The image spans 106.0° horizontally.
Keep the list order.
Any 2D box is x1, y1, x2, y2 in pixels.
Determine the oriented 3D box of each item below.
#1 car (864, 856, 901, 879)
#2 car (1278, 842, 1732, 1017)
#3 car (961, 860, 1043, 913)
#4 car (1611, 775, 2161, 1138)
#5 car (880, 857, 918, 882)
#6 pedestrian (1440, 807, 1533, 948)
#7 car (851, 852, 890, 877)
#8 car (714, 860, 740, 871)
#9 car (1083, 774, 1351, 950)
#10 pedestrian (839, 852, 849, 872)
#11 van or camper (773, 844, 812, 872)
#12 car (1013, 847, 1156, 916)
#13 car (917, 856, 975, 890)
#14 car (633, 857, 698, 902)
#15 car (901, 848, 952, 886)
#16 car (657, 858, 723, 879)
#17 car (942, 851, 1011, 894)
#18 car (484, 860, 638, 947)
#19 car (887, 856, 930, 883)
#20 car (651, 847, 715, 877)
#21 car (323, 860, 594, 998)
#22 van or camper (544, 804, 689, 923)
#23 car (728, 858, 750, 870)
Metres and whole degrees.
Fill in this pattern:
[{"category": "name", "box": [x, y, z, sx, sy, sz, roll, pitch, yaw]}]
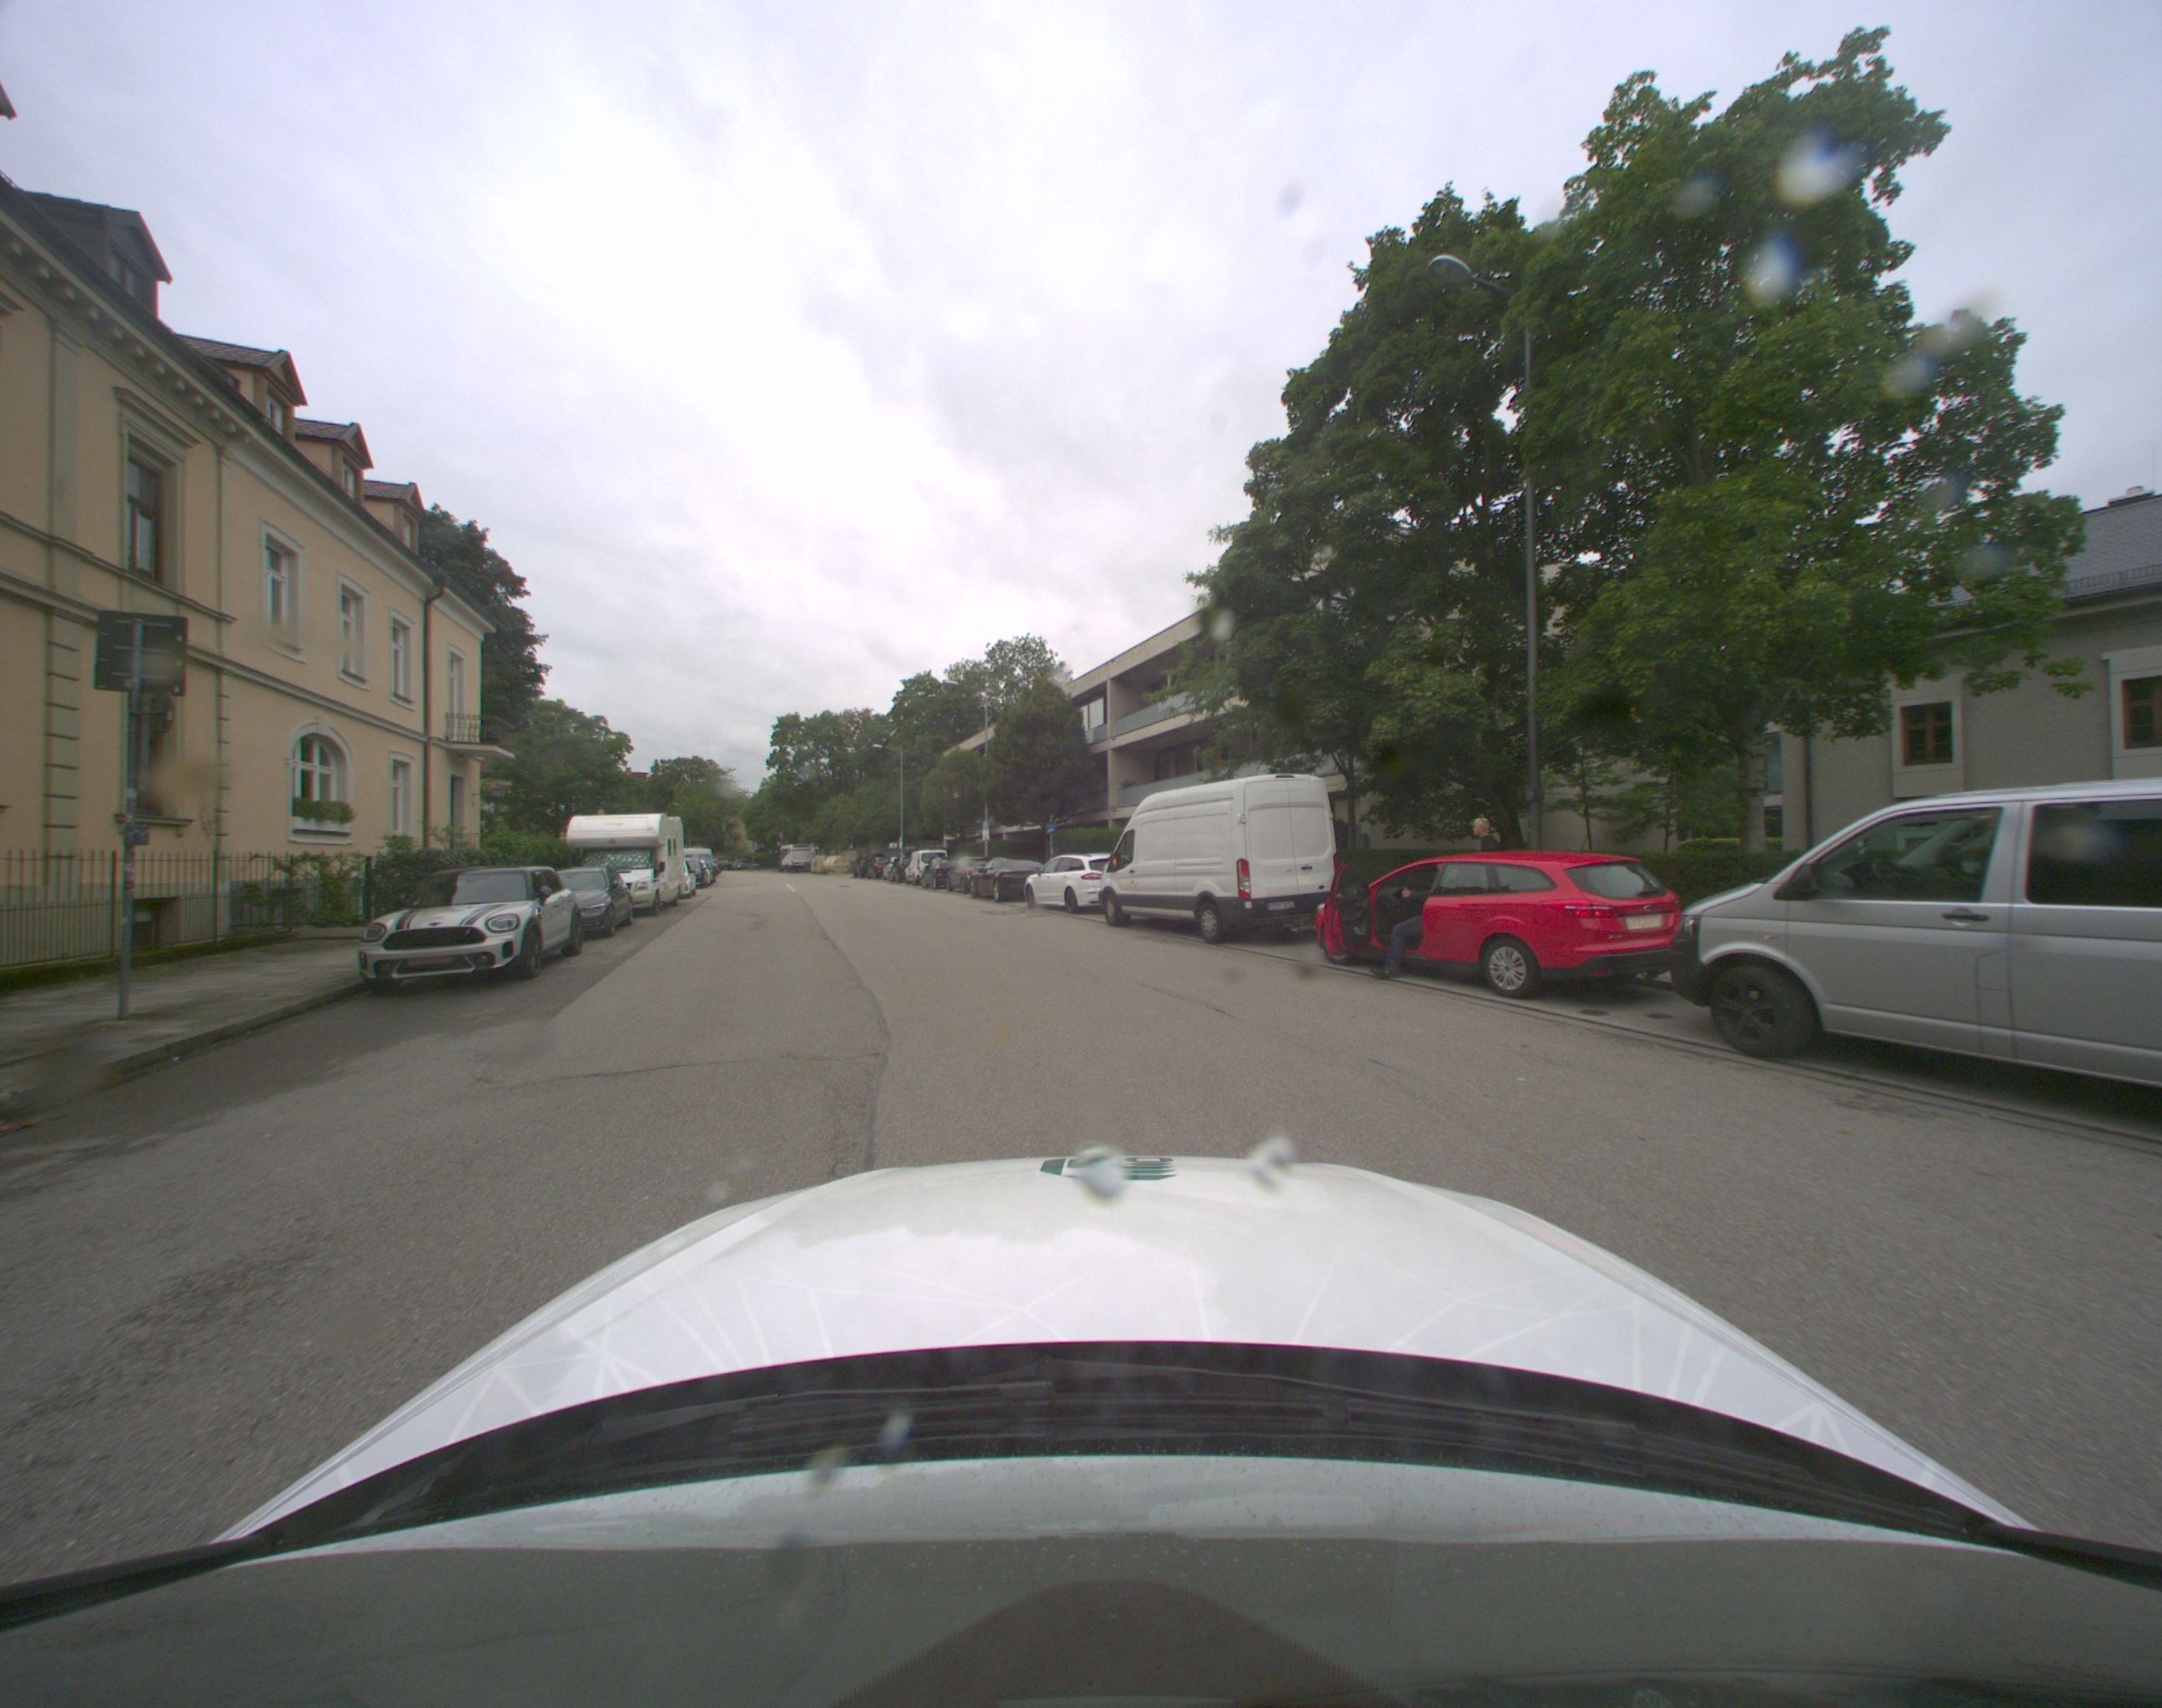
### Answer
[{"category": "car", "box": [-14.002, 0.938, 57.318, 1.756, 1.539, 4.532, 0, 0, -24]}, {"category": "car", "box": [4.666, 0.660, 9.937, 1.879, 1.506, 4.800, -3, 1, -23]}, {"category": "car", "box": [-2.758, 1.009, 27.426, 1.286, 1.506, 5.169, -3, 1, -22]}, {"category": "car", "box": [6.396, 0.496, 5.031, 1.942, 1.904, 5.036, -3, 1, -21]}, {"category": "car", "box": [-11.696, 0.957, 52.126, 1.755, 1.480, 3.859, 0, 0, -23]}, {"category": "pedestrian", "box": [5.710, 0.324, 11.502, 0.797, 1.903, 0.860, 1, 0, -16]}, {"category": "car", "box": [-16.130, 0.823, 62.207, 1.997, 1.871, 5.036, 1, -1, -24]}, {"category": "car", "box": [-49.352, 1.555, 113.594, 4.169, 1.427, 1.894, -1, 1, 45]}, {"category": "car", "box": [2.223, 0.071, 15.619, 2.089, 2.686, 6.041, -2, 1, -23]}, {"category": "pedestrian", "box": [-23.897, 0.765, 82.108, 0.801, 1.985, 0.624, 0, -1, -35]}, {"category": "van or camper", "box": [-31.691, 0.459, 89.318, 2.289, 2.906, 7.200, 0, 0, -34]}, {"category": "car", "box": [-0.063, 0.624, 21.875, 1.880, 1.569, 4.960, -3, 2, -25]}, {"category": "car", "box": [-6.271, 0.819, 37.564, 1.755, 1.464, 4.211, -1, 0, -22]}, {"category": "car", "box": [-16.058, 0.925, 31.662, 1.785, 1.535, 4.197, -3, 1, -22]}, {"category": "car", "box": [-8.214, 0.671, 43.076, 1.829, 1.860, 4.864, 1, -1, -21]}, {"category": "car", "box": [-30.611, 1.106, 63.756, 4.364, 1.530, 1.912, 0, -2, -36]}, {"category": "car", "box": [-4.262, 0.683, 32.659, 1.734, 1.529, 4.173, -2, 1, -22]}, {"category": "car", "box": [-11.003, 0.938, 17.627, 1.944, 1.508, 4.785, -3, 1, -23]}, {"category": "car", "box": [-10.174, 0.873, 47.798, 1.755, 1.480, 4.564, 0, 0, -22]}, {"category": "car", "box": [-35.757, 0.678, 73.293, 2.205, 2.563, 4.667, -1, 1, 34]}, {"category": "car", "box": [-8.903, 0.919, 12.188, 1.943, 1.535, 4.499, -3, 1, -21]}, {"category": "van or camper", "box": [-13.401, 0.211, 24.078, 2.464, 2.940, 7.162, -2, 1, -20]}, {"category": "car", "box": [-46.512, 1.393, 110.757, 2.909, 1.536, 1.755, -2, 0, 45]}]
